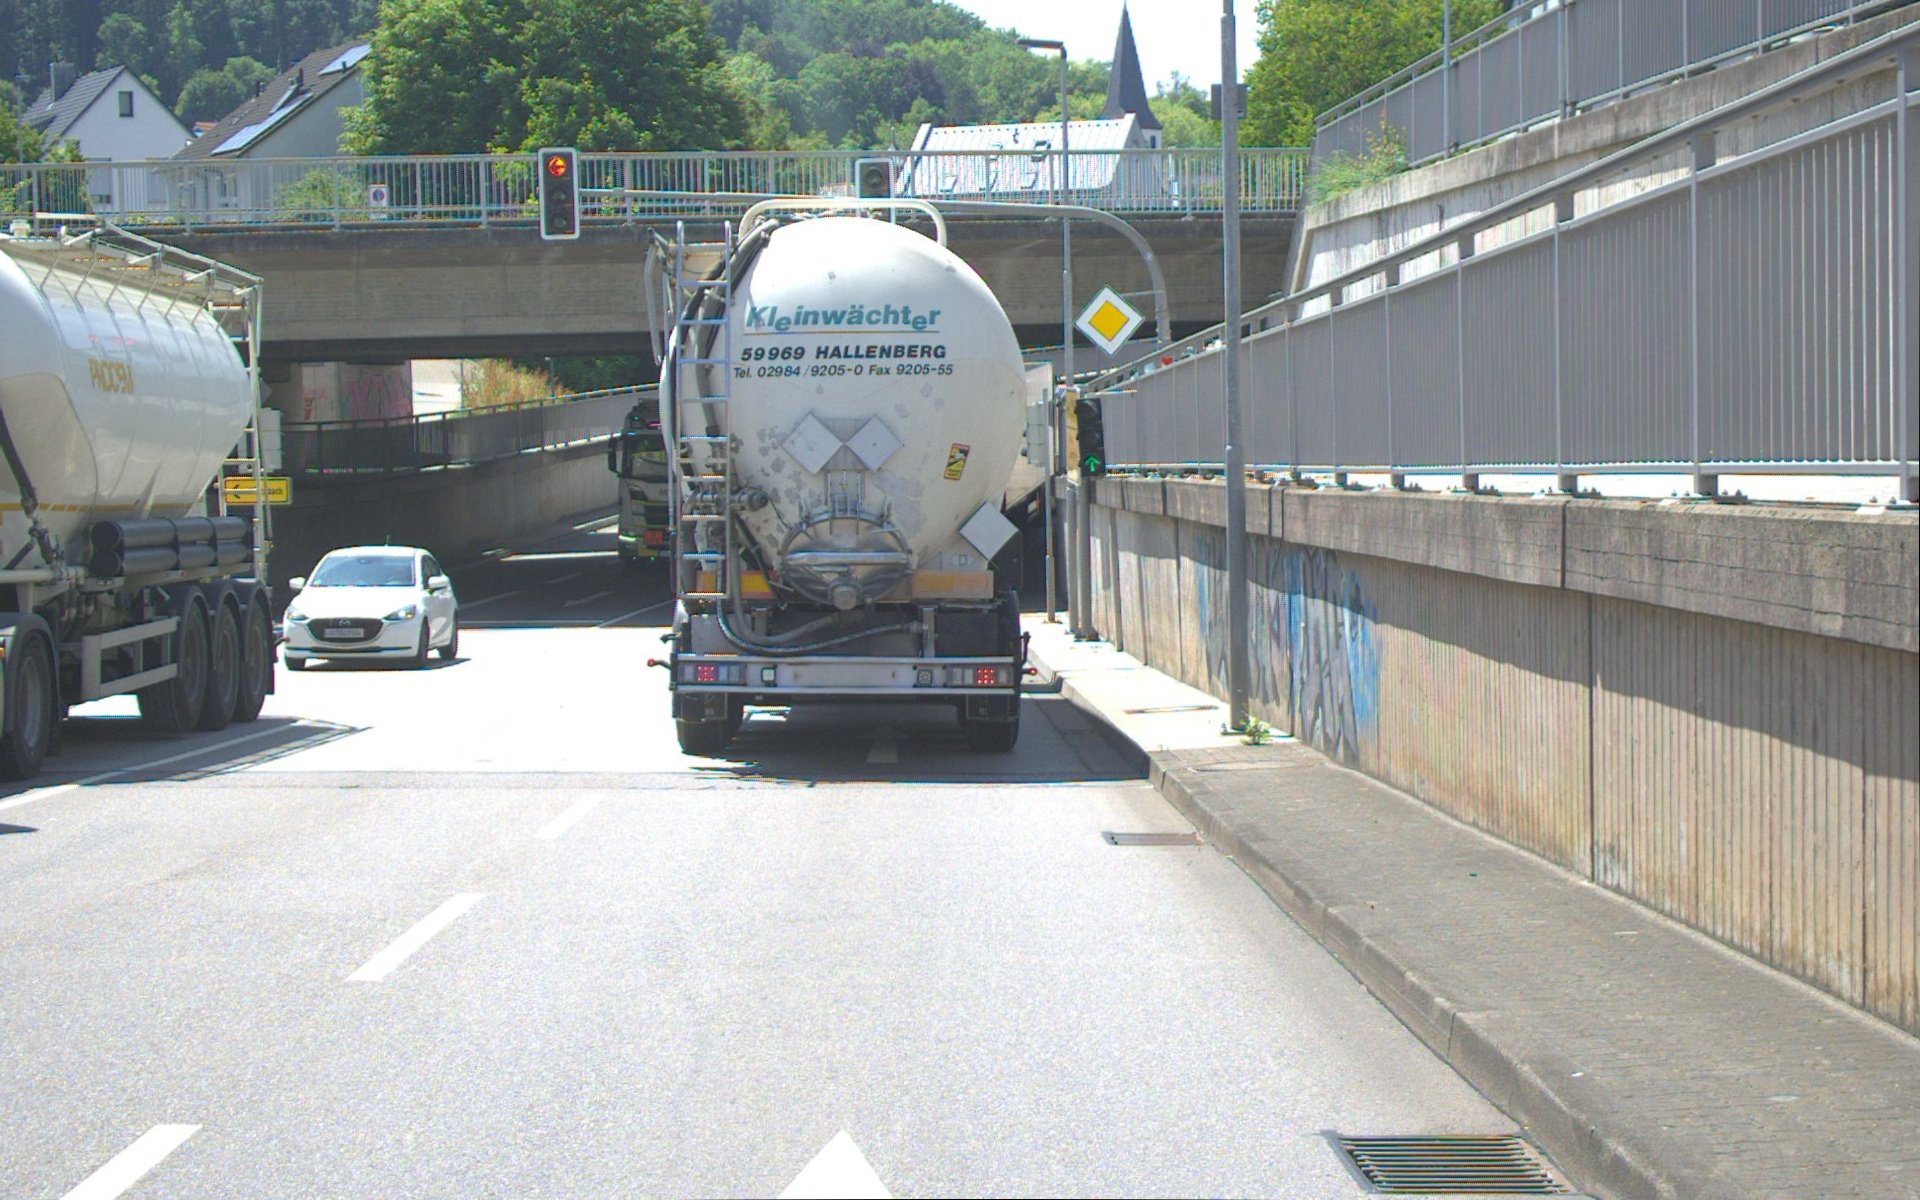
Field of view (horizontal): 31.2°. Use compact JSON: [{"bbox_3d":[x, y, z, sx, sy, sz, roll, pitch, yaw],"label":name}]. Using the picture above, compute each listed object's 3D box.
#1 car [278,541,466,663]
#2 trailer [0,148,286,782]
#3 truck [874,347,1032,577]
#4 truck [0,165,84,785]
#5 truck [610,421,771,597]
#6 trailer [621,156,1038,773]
[{"bbox_3d":[-7.345,-0.011,43.251,1.682,1.435,4.094,0,1,0],"label":"car"},{"bbox_3d":[-7.304,-0.910,26.099,2.610,3.950,9.347,0,1,0],"label":"trailer"},{"bbox_3d":[-0.053,-3.204,79.882,3.081,4.982,10.083,1,2,3],"label":"truck"},{"bbox_3d":[-7.278,-0.761,20.119,2.662,3.847,6.580,0,1,0],"label":"truck"},{"bbox_3d":[-5.825,-1.983,75.382,2.689,3.651,7.369,1,1,2],"label":"truck"},{"bbox_3d":[-0.884,-1.002,29.232,2.735,4.050,13.313,0,1,0],"label":"trailer"}]
